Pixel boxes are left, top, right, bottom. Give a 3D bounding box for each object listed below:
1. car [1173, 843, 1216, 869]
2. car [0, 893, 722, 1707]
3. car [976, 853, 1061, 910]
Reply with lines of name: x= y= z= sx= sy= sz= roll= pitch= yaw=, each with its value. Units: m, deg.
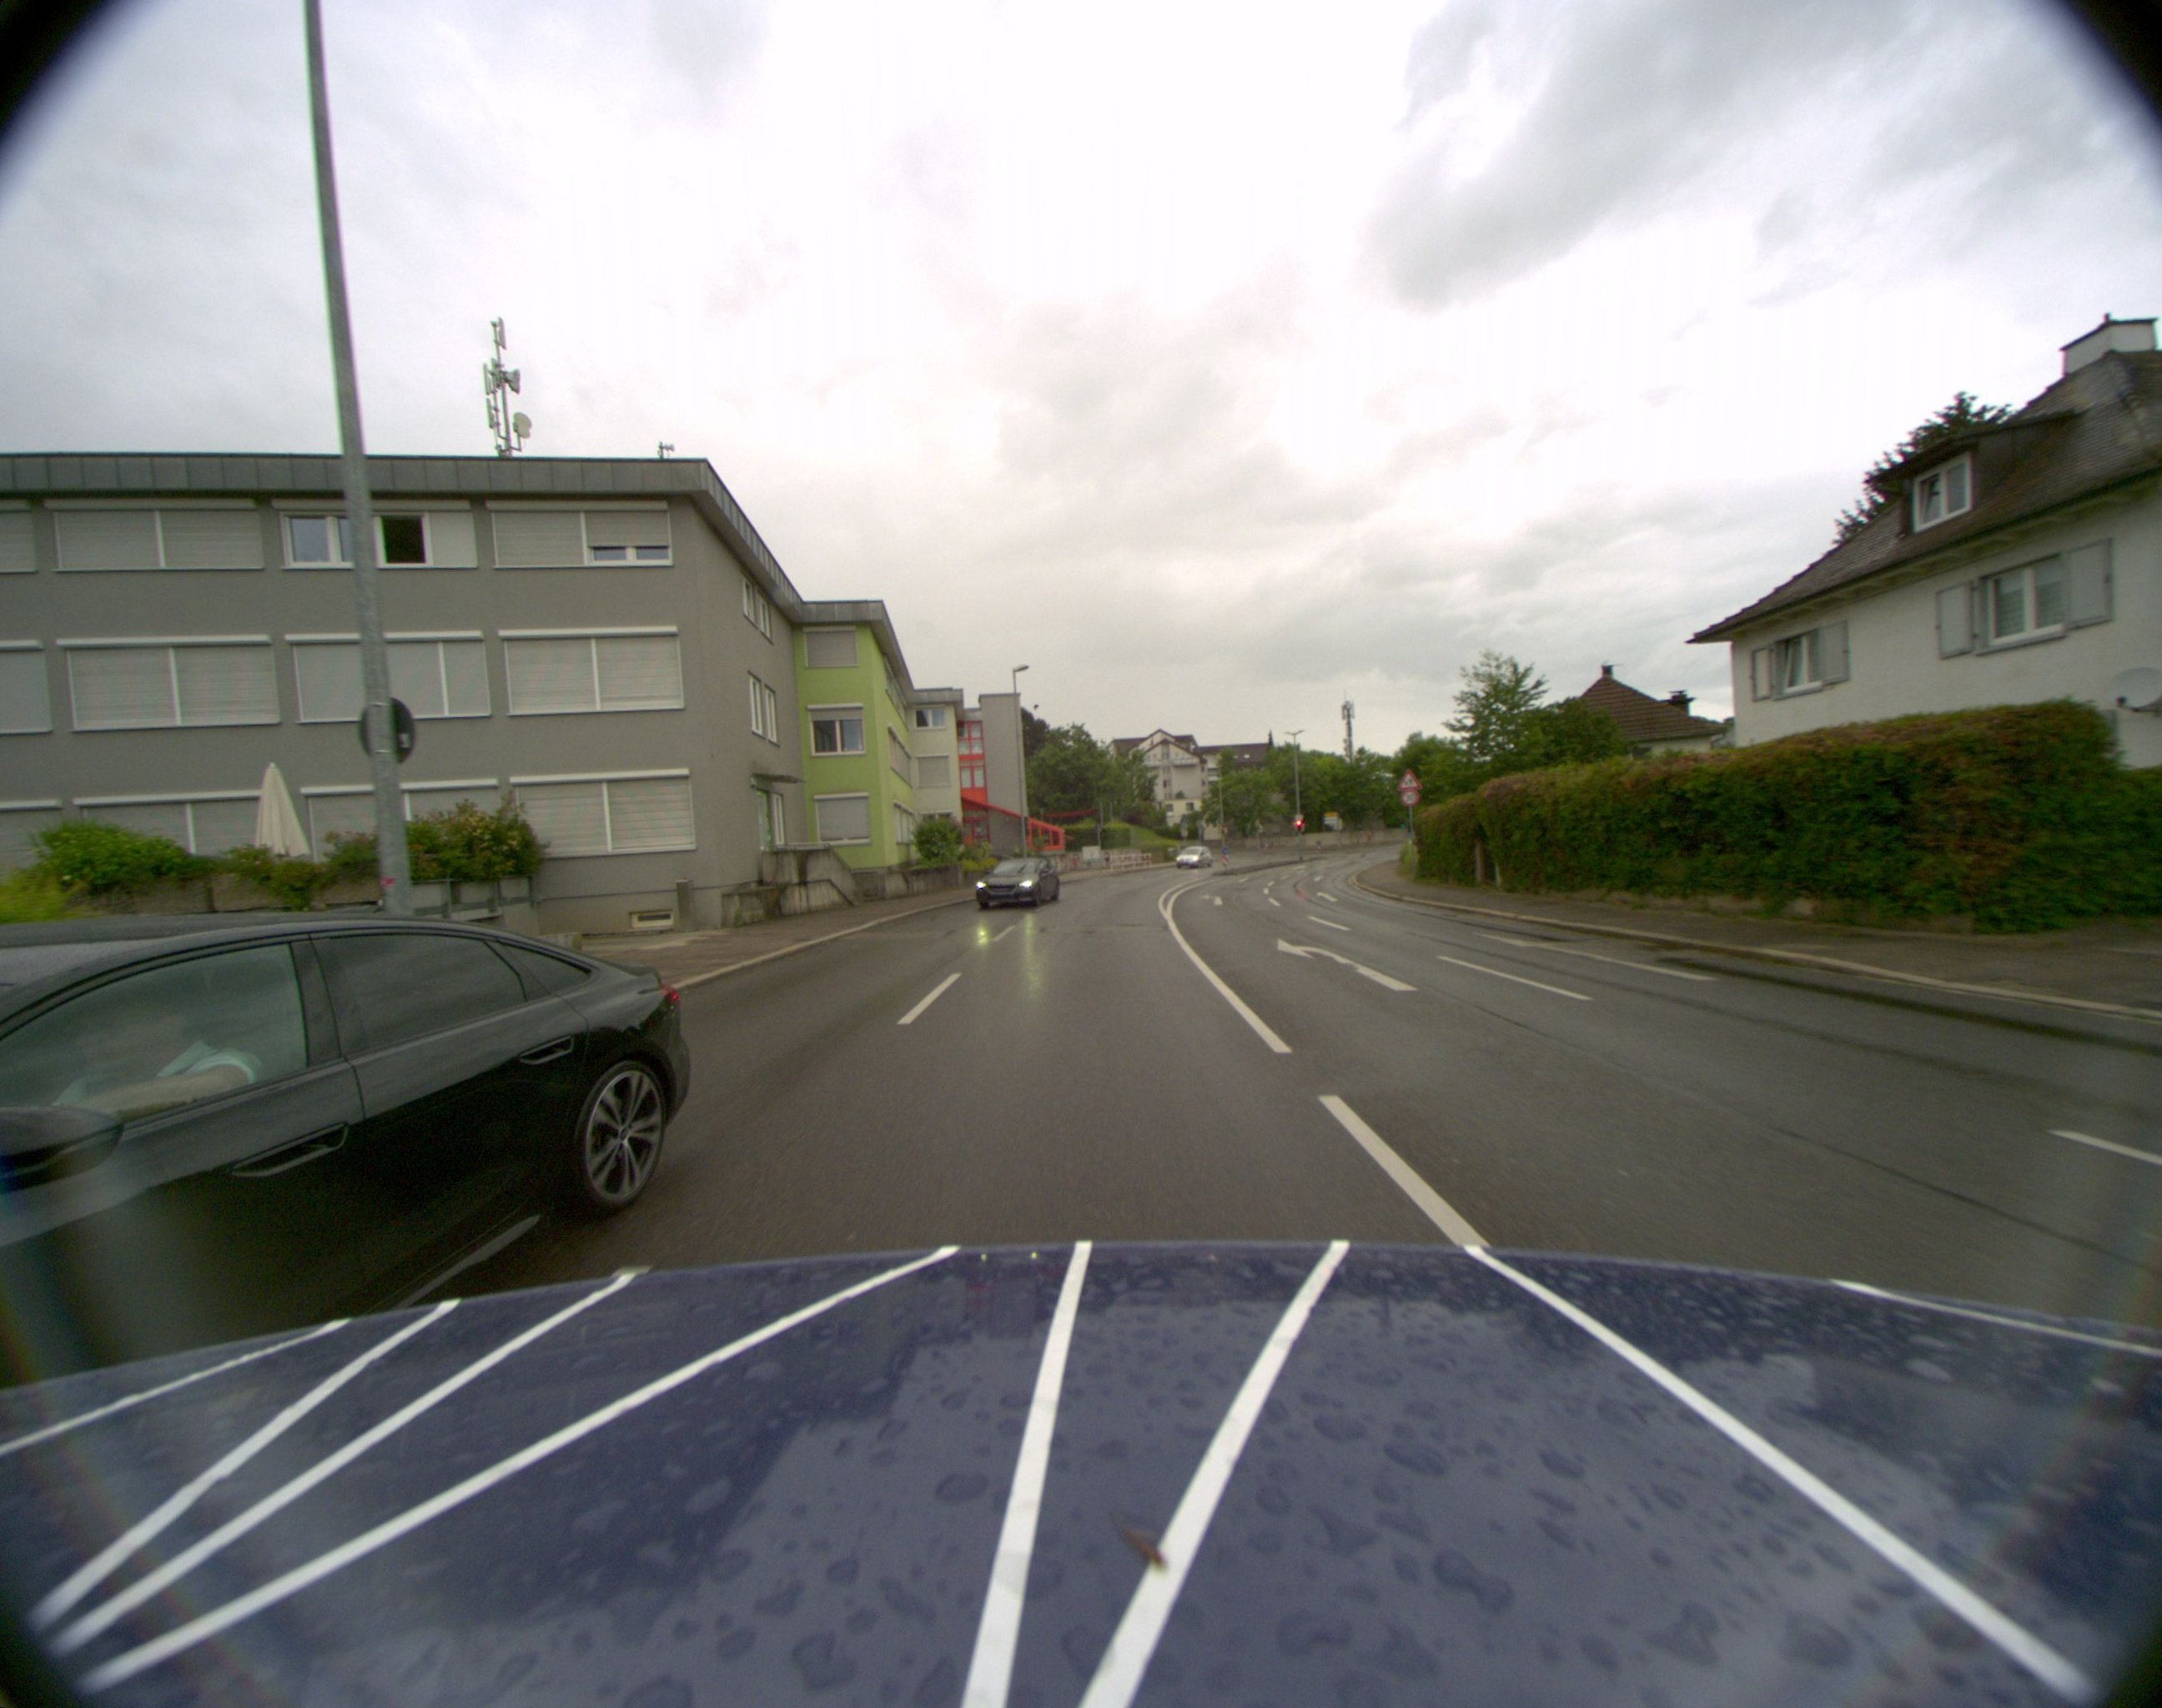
car: x=8.492 y=0.138 z=56.610 sx=1.995 sy=1.647 sz=4.005 roll=-2 pitch=2 yaw=25
car: x=-3.004 y=1.057 z=1.869 sx=1.871 sy=1.416 sz=4.737 roll=-3 pitch=2 yaw=0
car: x=-1.959 y=0.833 z=24.961 sx=1.871 sy=1.511 sz=4.001 roll=-3 pitch=2 yaw=8
